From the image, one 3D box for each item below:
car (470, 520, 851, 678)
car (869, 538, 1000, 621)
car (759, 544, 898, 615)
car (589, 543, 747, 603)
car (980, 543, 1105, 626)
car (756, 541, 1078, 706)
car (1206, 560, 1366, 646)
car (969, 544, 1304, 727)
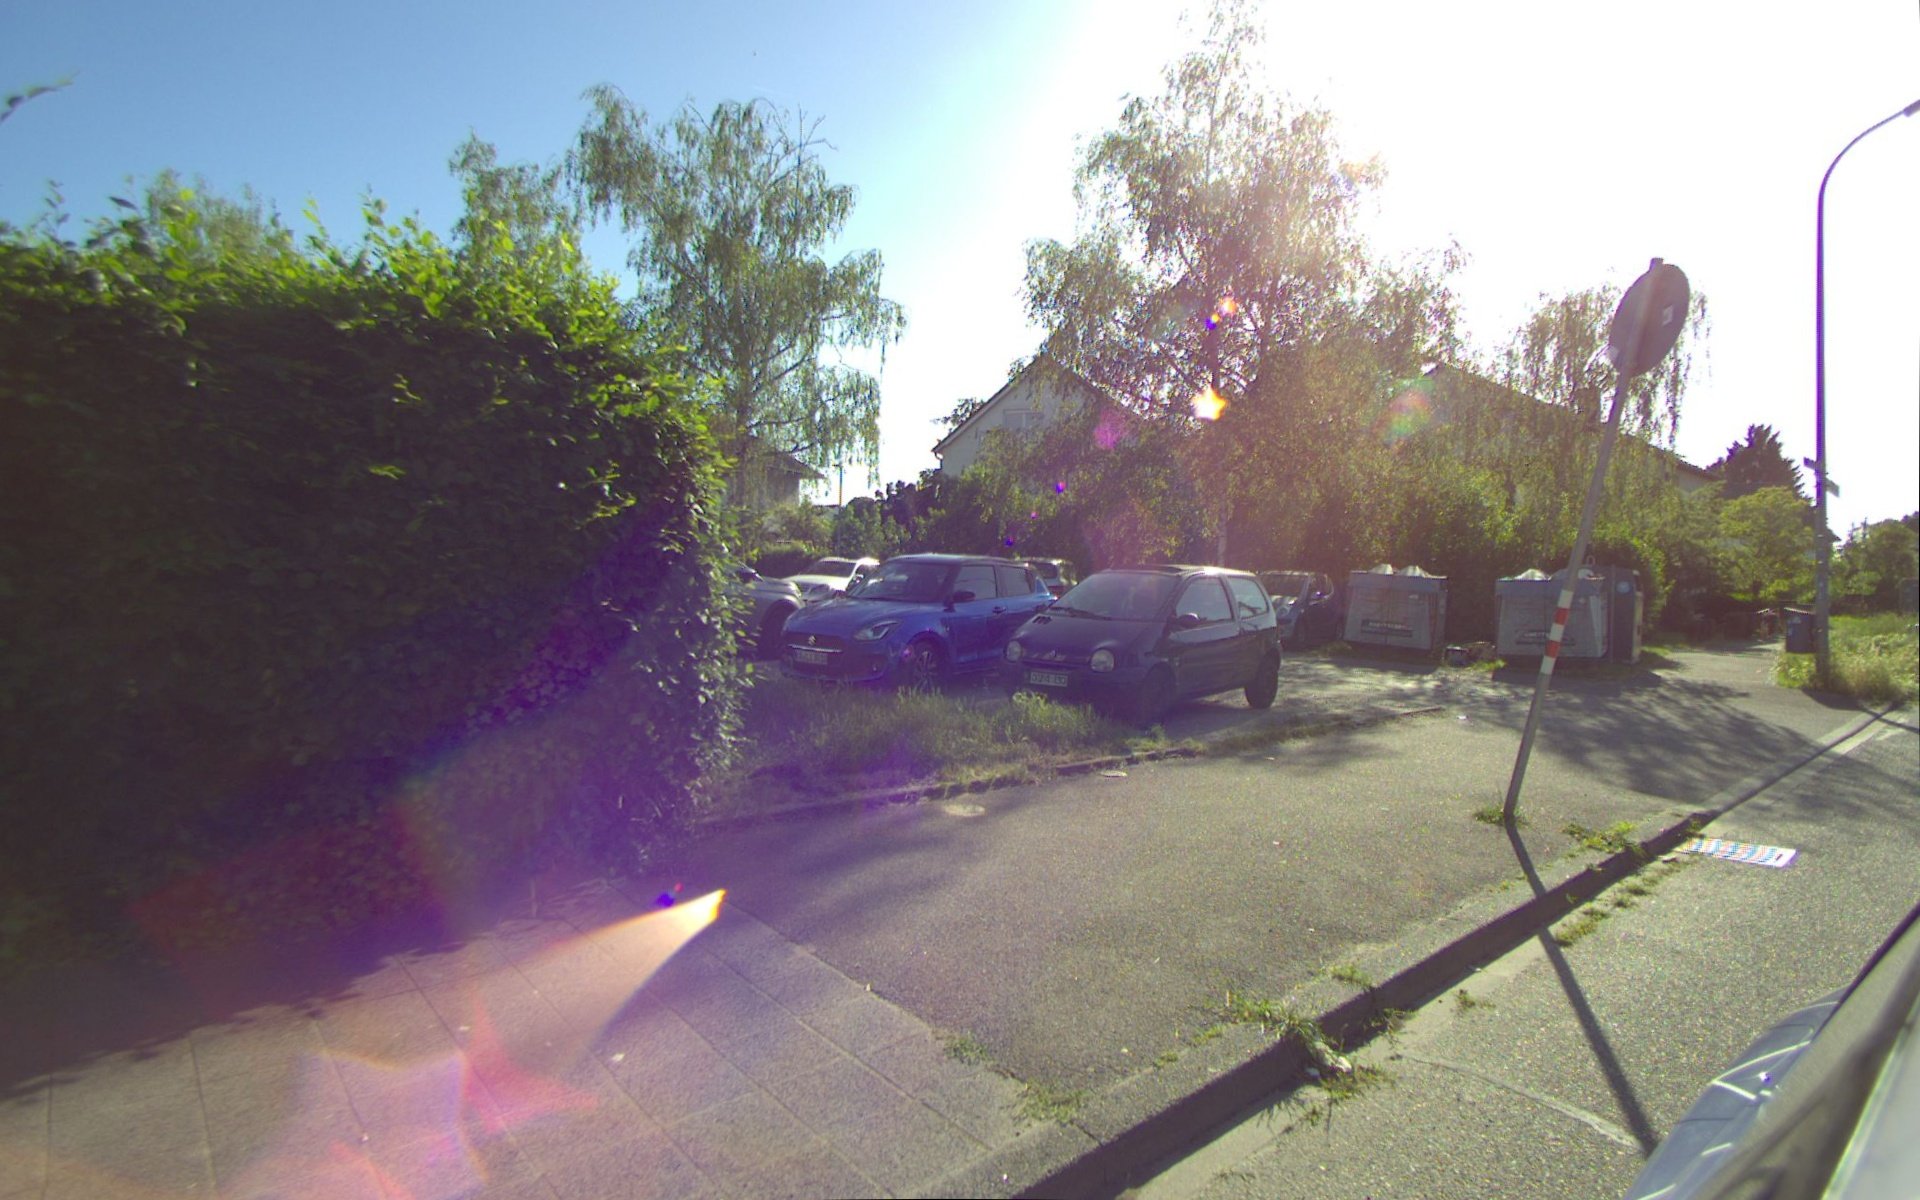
[{"bbox_3d":[-3.646,-0.107,13.365,1.770,1.674,4.955,3,3,30],"label":"car"},{"bbox_3d":[-0.510,-0.474,24.179,1.768,1.727,4.092,3,1,19],"label":"car"},{"bbox_3d":[-3.144,-0.494,25.142,1.768,1.518,4.092,3,2,19],"label":"car"},{"bbox_3d":[-7.956,-0.710,27.878,1.932,1.522,3.957,2,1,30],"label":"car"},{"bbox_3d":[1.965,-0.347,22.935,1.769,1.623,4.040,4,1,20],"label":"car"},{"bbox_3d":[-0.334,0.153,11.329,1.642,1.515,3.642,3,3,37],"label":"car"},{"bbox_3d":[6.346,0.049,19.430,1.626,1.457,4.009,2,1,38],"label":"car"},{"bbox_3d":[1.892,0.262,10.168,1.698,1.484,3.480,4,2,42],"label":"car"}]
